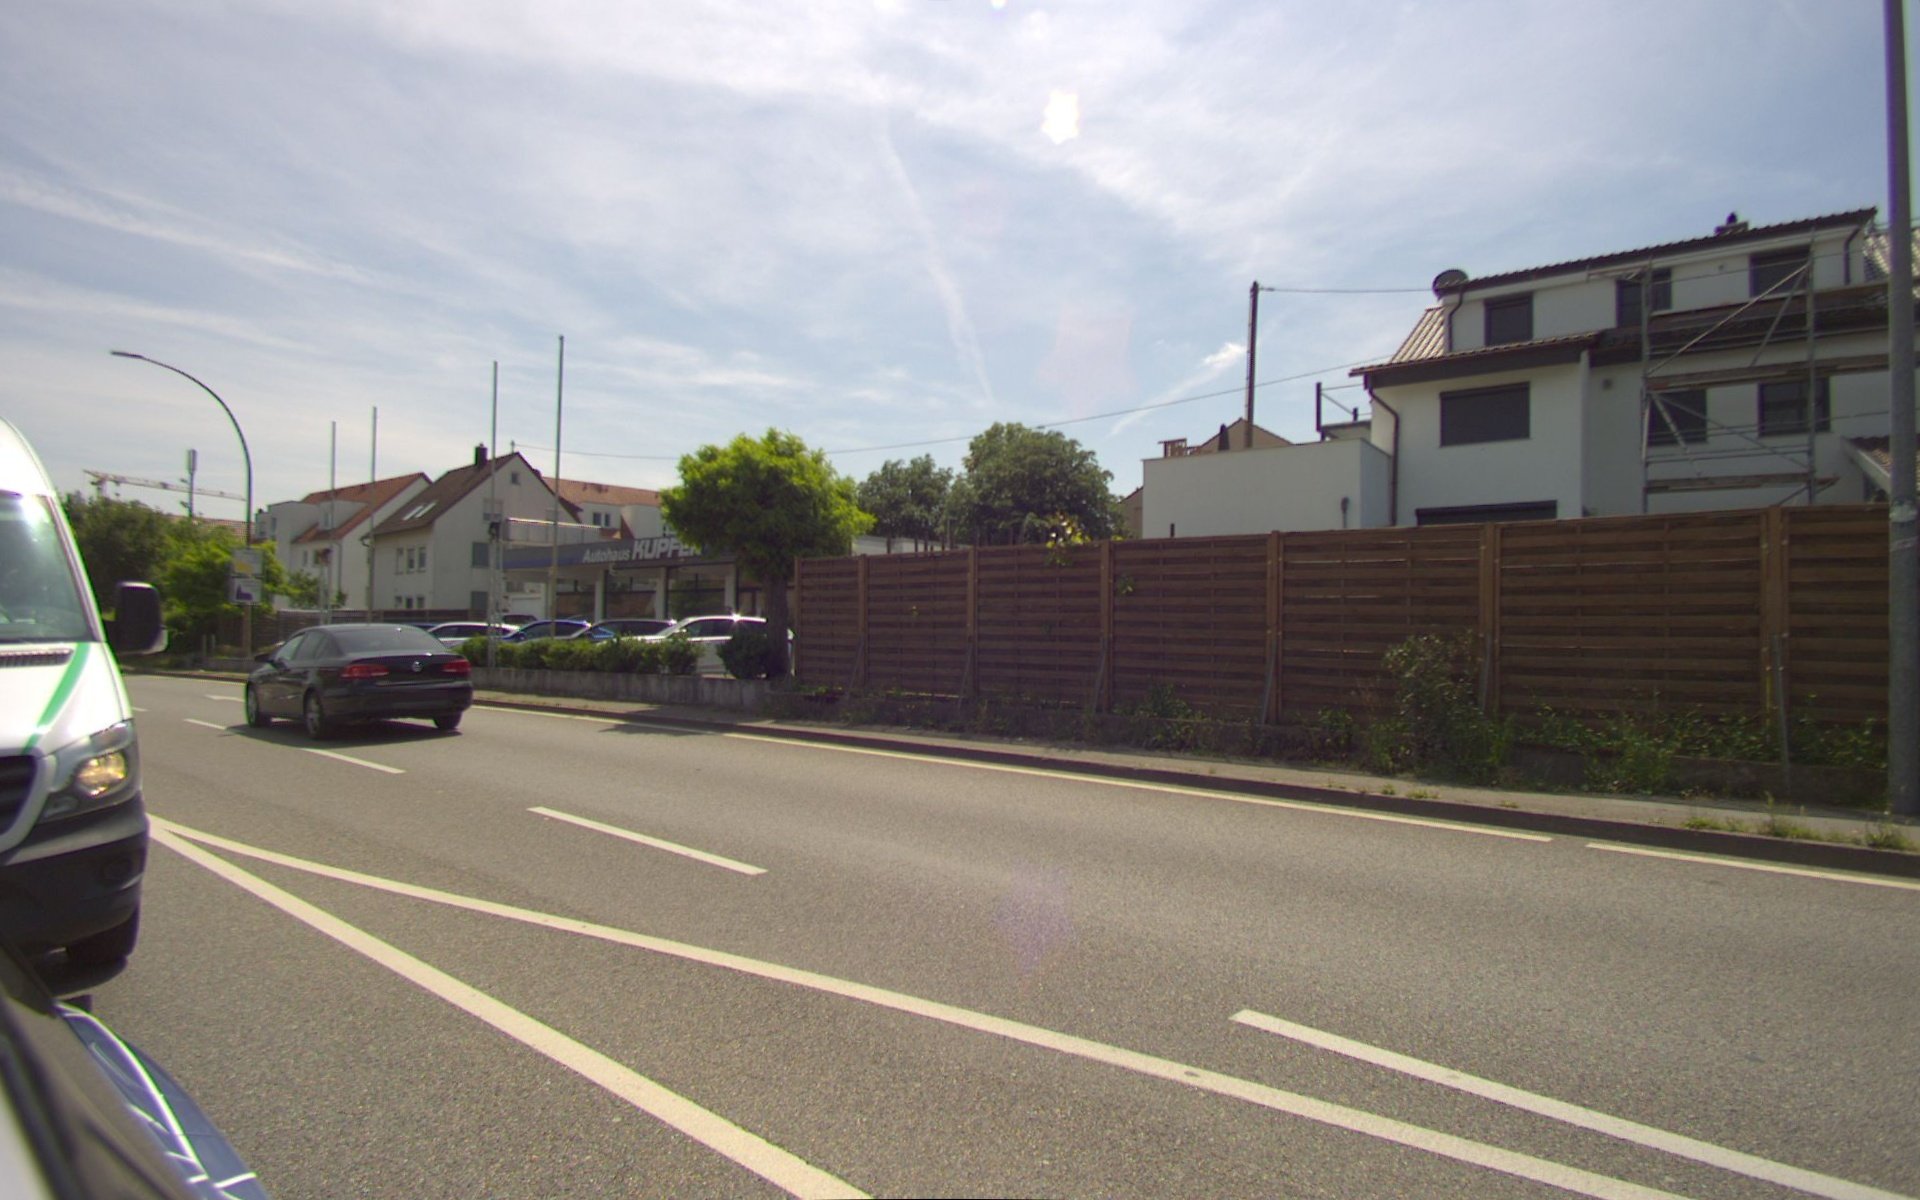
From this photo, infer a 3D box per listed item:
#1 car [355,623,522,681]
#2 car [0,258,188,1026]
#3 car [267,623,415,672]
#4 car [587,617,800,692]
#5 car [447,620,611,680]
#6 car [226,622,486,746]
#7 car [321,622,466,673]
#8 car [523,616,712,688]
[{"bbox_3d":[-15.275,1.488,29.909,4.238,1.530,2.006,-1,-1,-23],"label":"car"},{"bbox_3d":[-5.727,0.208,4.901,5.628,2.619,1.953,-2,-1,40],"label":"car"},{"bbox_3d":[-21.489,1.620,35.346,4.192,1.541,2.006,-1,-1,-24],"label":"car"},{"bbox_3d":[-5.880,1.145,22.366,4.264,1.471,1.861,0,-1,-26],"label":"car"},{"bbox_3d":[-11.627,1.308,27.391,3.931,1.453,1.860,-1,-1,-25],"label":"car"},{"bbox_3d":[-8.497,1.057,14.054,4.612,1.428,1.796,-2,-2,41],"label":"car"},{"bbox_3d":[-18.272,1.514,32.871,3.930,1.475,2.006,-1,-1,-24],"label":"car"},{"bbox_3d":[-8.455,1.233,25.025,4.187,1.557,1.856,-1,-1,-27],"label":"car"}]
